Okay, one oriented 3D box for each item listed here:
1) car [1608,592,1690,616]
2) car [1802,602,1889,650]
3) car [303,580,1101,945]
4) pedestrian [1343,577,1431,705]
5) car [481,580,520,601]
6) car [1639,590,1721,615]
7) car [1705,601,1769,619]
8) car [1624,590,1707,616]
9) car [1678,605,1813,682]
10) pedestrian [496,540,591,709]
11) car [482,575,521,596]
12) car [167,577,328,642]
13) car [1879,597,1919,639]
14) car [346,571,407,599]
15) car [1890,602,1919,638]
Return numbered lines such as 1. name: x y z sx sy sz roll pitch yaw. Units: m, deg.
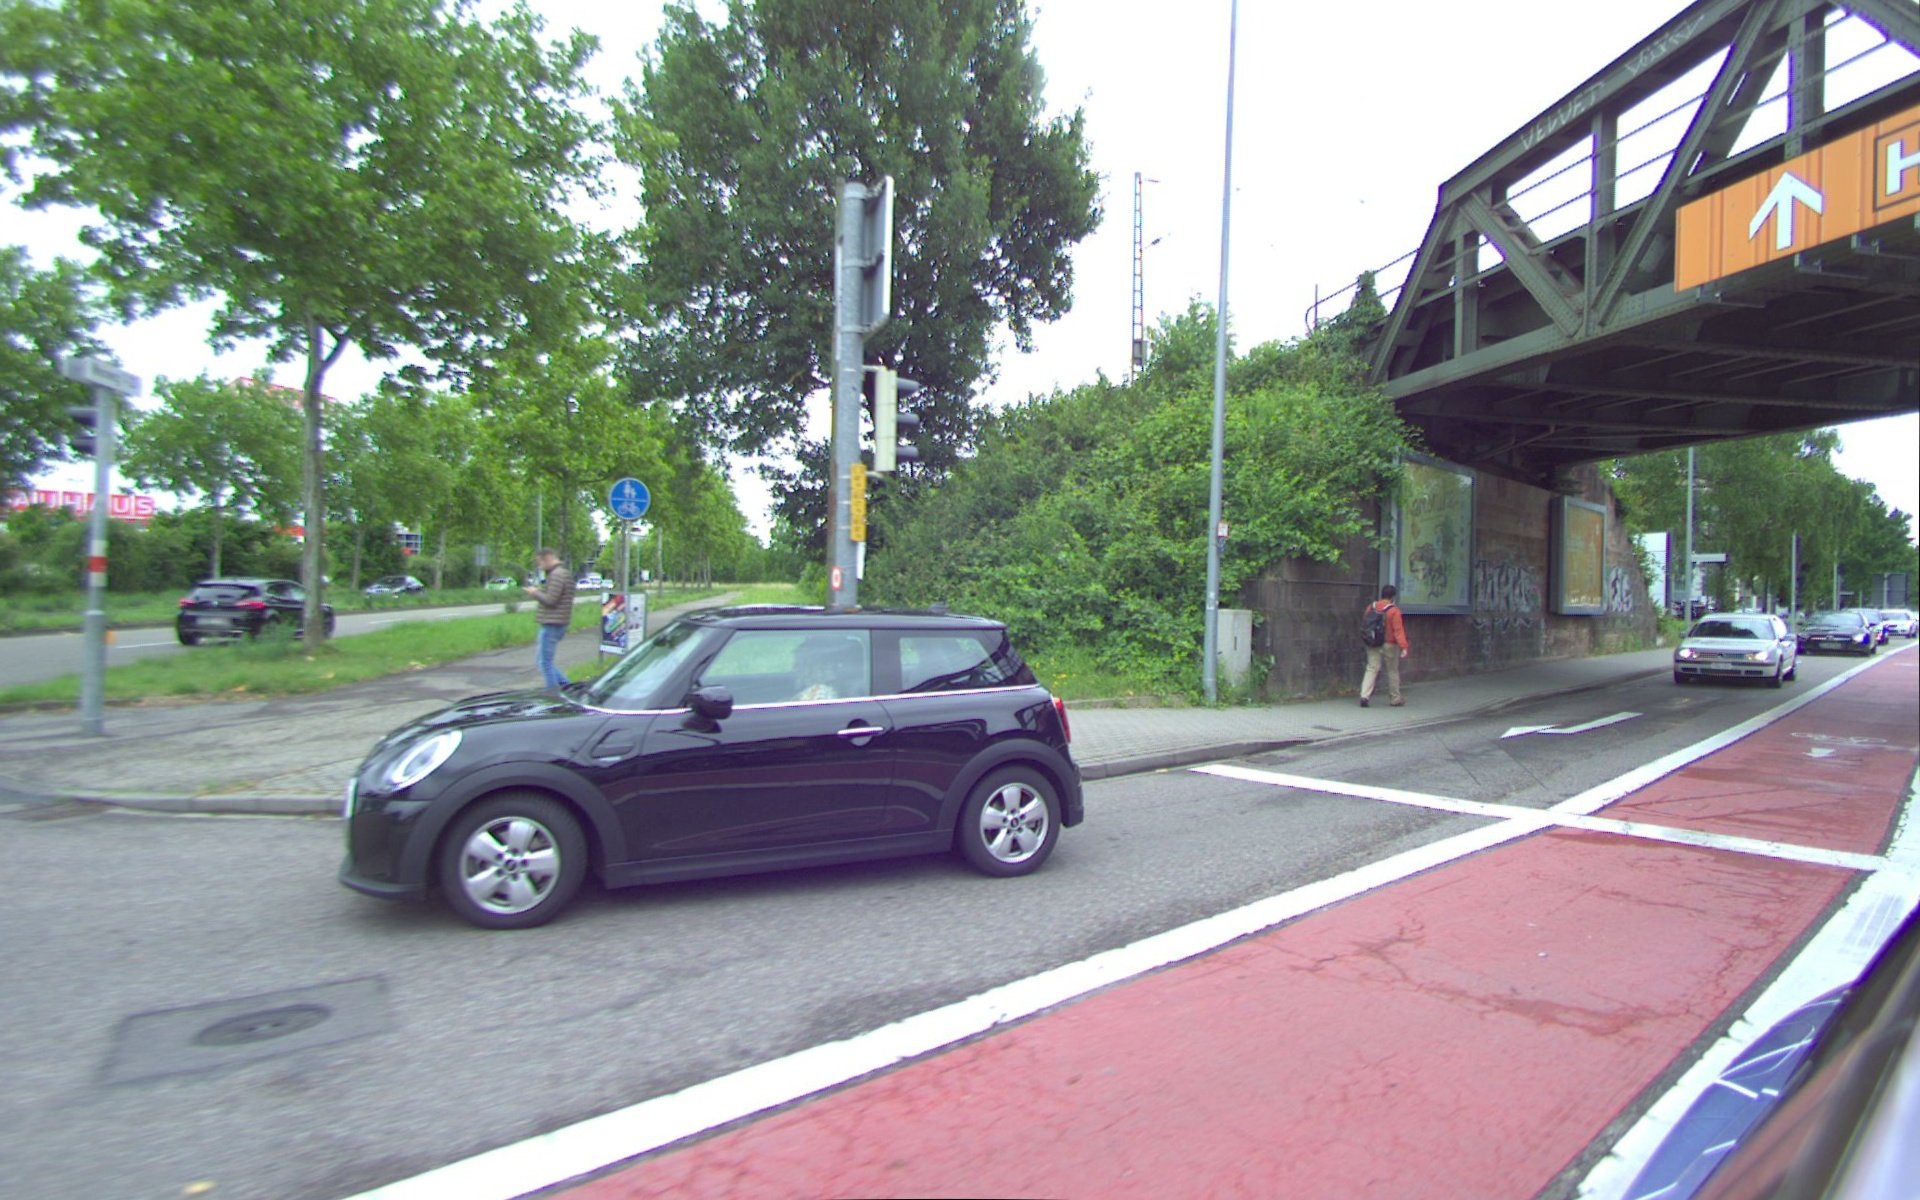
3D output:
1. car: 44.731 0.236 65.748 4.293 1.508 1.714 1 -1 41
2. car: 28.612 0.814 32.666 3.934 1.442 1.833 1 -1 -44
3. car: -1.256 0.668 5.555 3.695 1.450 1.687 1 -1 -24
4. pedestrian: 6.208 0.572 14.716 0.772 1.782 0.875 1 0 -32
5. car: -36.071 -0.712 79.535 1.749 1.552 4.005 0 0 -8
6. car: 49.751 0.208 69.996 1.936 1.622 4.301 1 -2 -43
7. car: 68.198 0.900 88.877 1.710 1.450 4.190 1 -2 -44
8. car: 47.593 0.227 68.309 4.297 1.622 1.938 -2 -2 44
9. car: 16.393 0.853 21.058 3.876 1.442 1.723 1 -1 -44
10. pedestrian: -4.255 0.242 10.390 0.762 1.661 0.745 1 0 -12
11. car: -36.037 -1.151 79.553 1.749 1.552 4.005 0 0 -8
12. car: -15.379 0.203 22.050 1.618 1.297 3.425 1 -1 -12
13. car: 40.002 0.755 42.573 1.780 1.668 3.942 2 1 40
14. car: -33.022 -0.835 57.391 1.661 1.501 4.073 1 1 -9
15. car: 53.108 1.116 56.321 1.989 1.872 4.040 2 0 43
